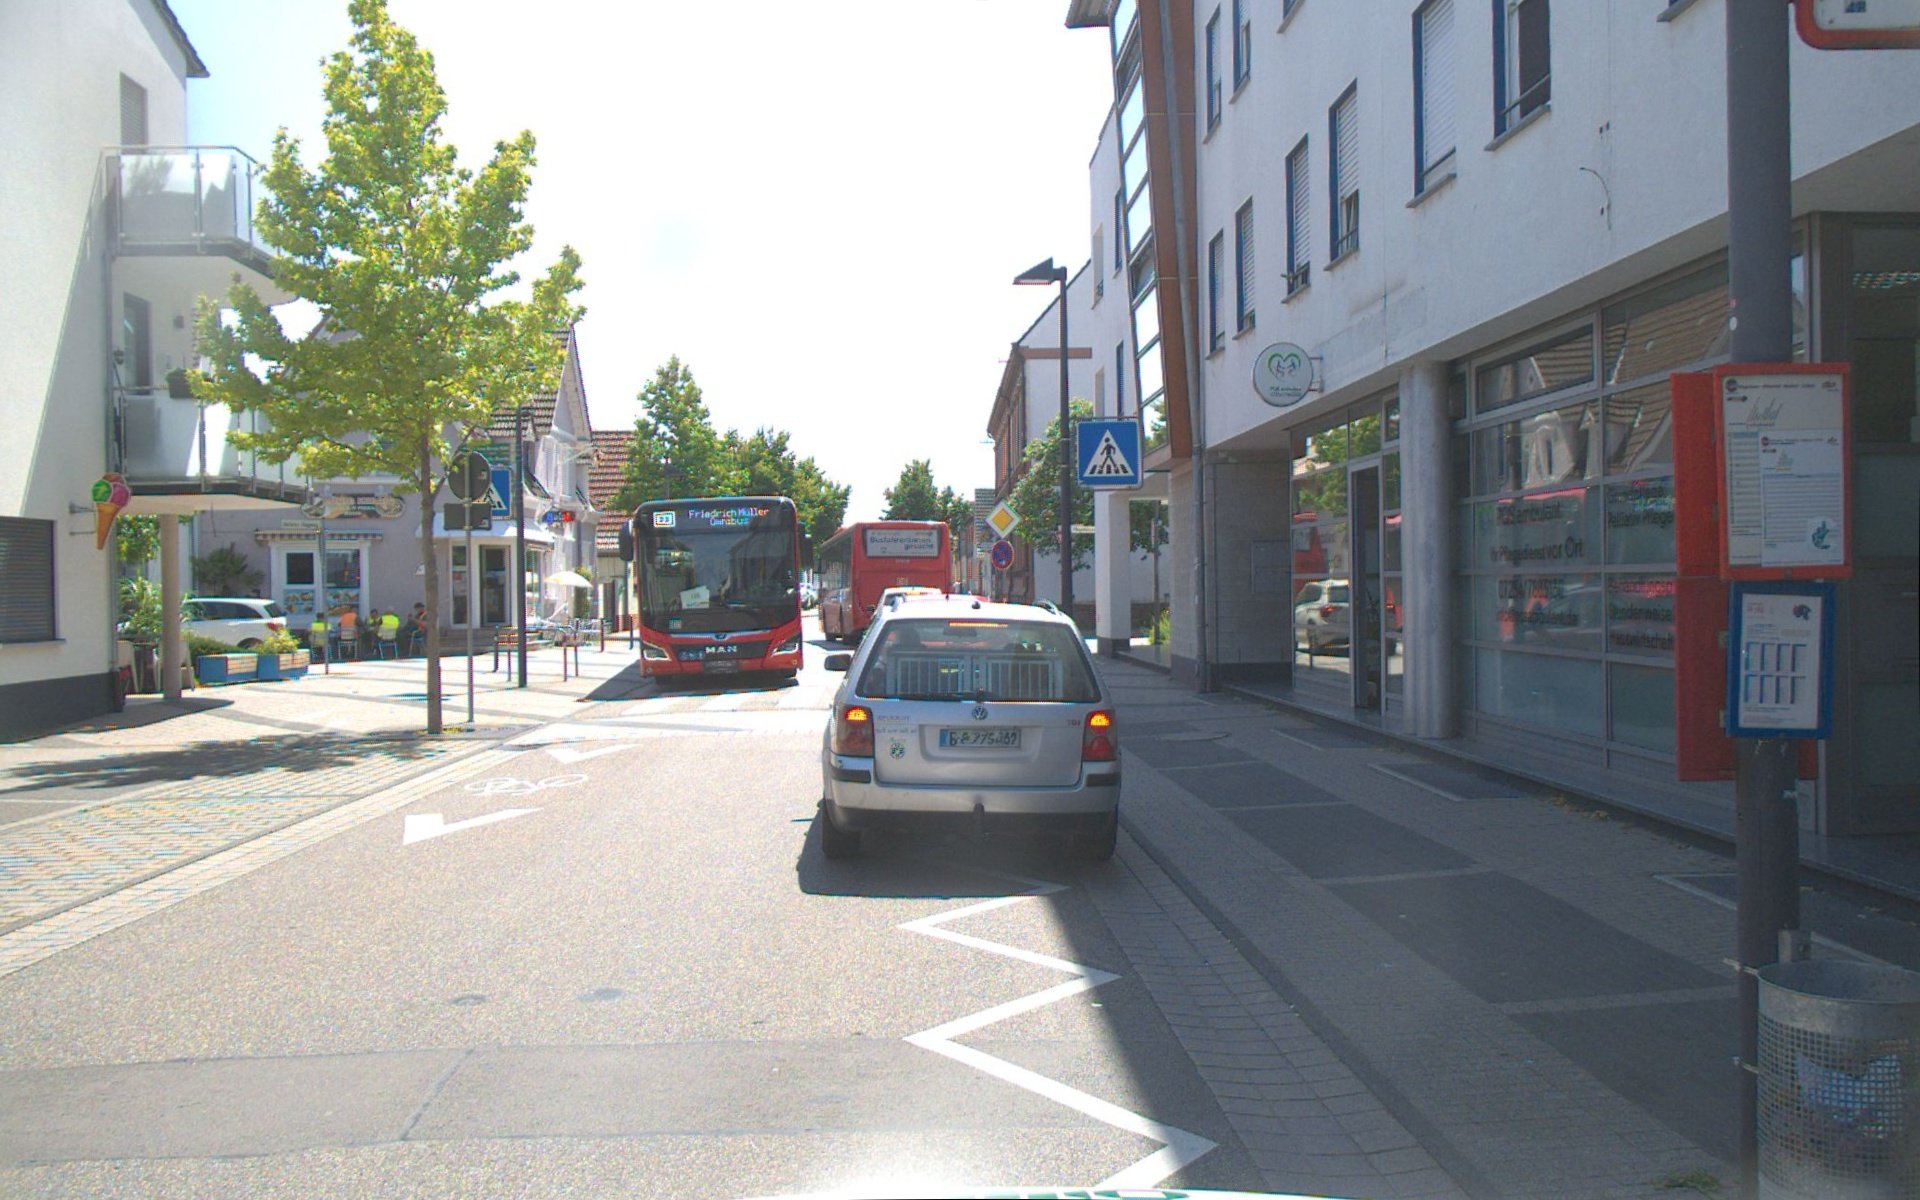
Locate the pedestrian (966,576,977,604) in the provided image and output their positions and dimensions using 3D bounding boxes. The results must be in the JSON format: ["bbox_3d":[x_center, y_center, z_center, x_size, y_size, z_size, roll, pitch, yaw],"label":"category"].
[{"bbox_3d":[0.740,-0.610,102.662,0.594,1.696,0.789,-1,0,-4],"label":"pedestrian"}]

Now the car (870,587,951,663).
[{"bbox_3d":[-1.000,0.466,33.658,1.561,1.455,3.678,0,0,-2],"label":"car"}]

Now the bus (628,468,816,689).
[{"bbox_3d":[-4.628,-0.390,33.854,2.618,3.177,17.780,-4,1,-7],"label":"bus"}]

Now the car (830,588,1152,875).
[{"bbox_3d":[0.087,0.668,10.346,1.643,1.455,3.678,1,0,-3],"label":"car"}]

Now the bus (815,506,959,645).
[{"bbox_3d":[-2.308,-0.613,46.246,2.689,3.356,12.679,0,0,-9],"label":"bus"}]

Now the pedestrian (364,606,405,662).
[{"bbox_3d":[-13.891,0.812,39.944,0.776,1.311,0.631,1,0,44],"label":"pedestrian"}]

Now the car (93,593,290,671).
[{"bbox_3d":[-17.336,0.687,37.500,3.857,1.572,1.510,-2,2,-20],"label":"car"}]

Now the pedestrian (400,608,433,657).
[{"bbox_3d":[-13.512,0.798,41.132,0.610,1.199,0.695,-1,0,-7],"label":"pedestrian"}]

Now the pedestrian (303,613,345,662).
[{"bbox_3d":[-15.068,0.892,39.180,0.776,1.135,0.631,1,0,44],"label":"pedestrian"}]

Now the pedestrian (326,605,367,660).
[{"bbox_3d":[-14.868,0.781,40.070,0.776,1.311,0.631,1,0,44],"label":"pedestrian"}]

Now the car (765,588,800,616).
[{"bbox_3d":[-10.481,0.091,97.909,1.775,1.586,3.998,-1,0,-3],"label":"car"}]

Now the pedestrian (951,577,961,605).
[{"bbox_3d":[-0.247,-0.568,102.748,0.594,1.696,0.789,-1,0,-4],"label":"pedestrian"}]

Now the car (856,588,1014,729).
[{"bbox_3d":[-0.342,0.598,19.287,1.643,1.455,3.678,-1,0,-3],"label":"car"}]

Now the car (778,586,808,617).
[{"bbox_3d":[-11.129,0.092,110.424,1.775,2.030,3.998,-1,0,-3],"label":"car"}]
